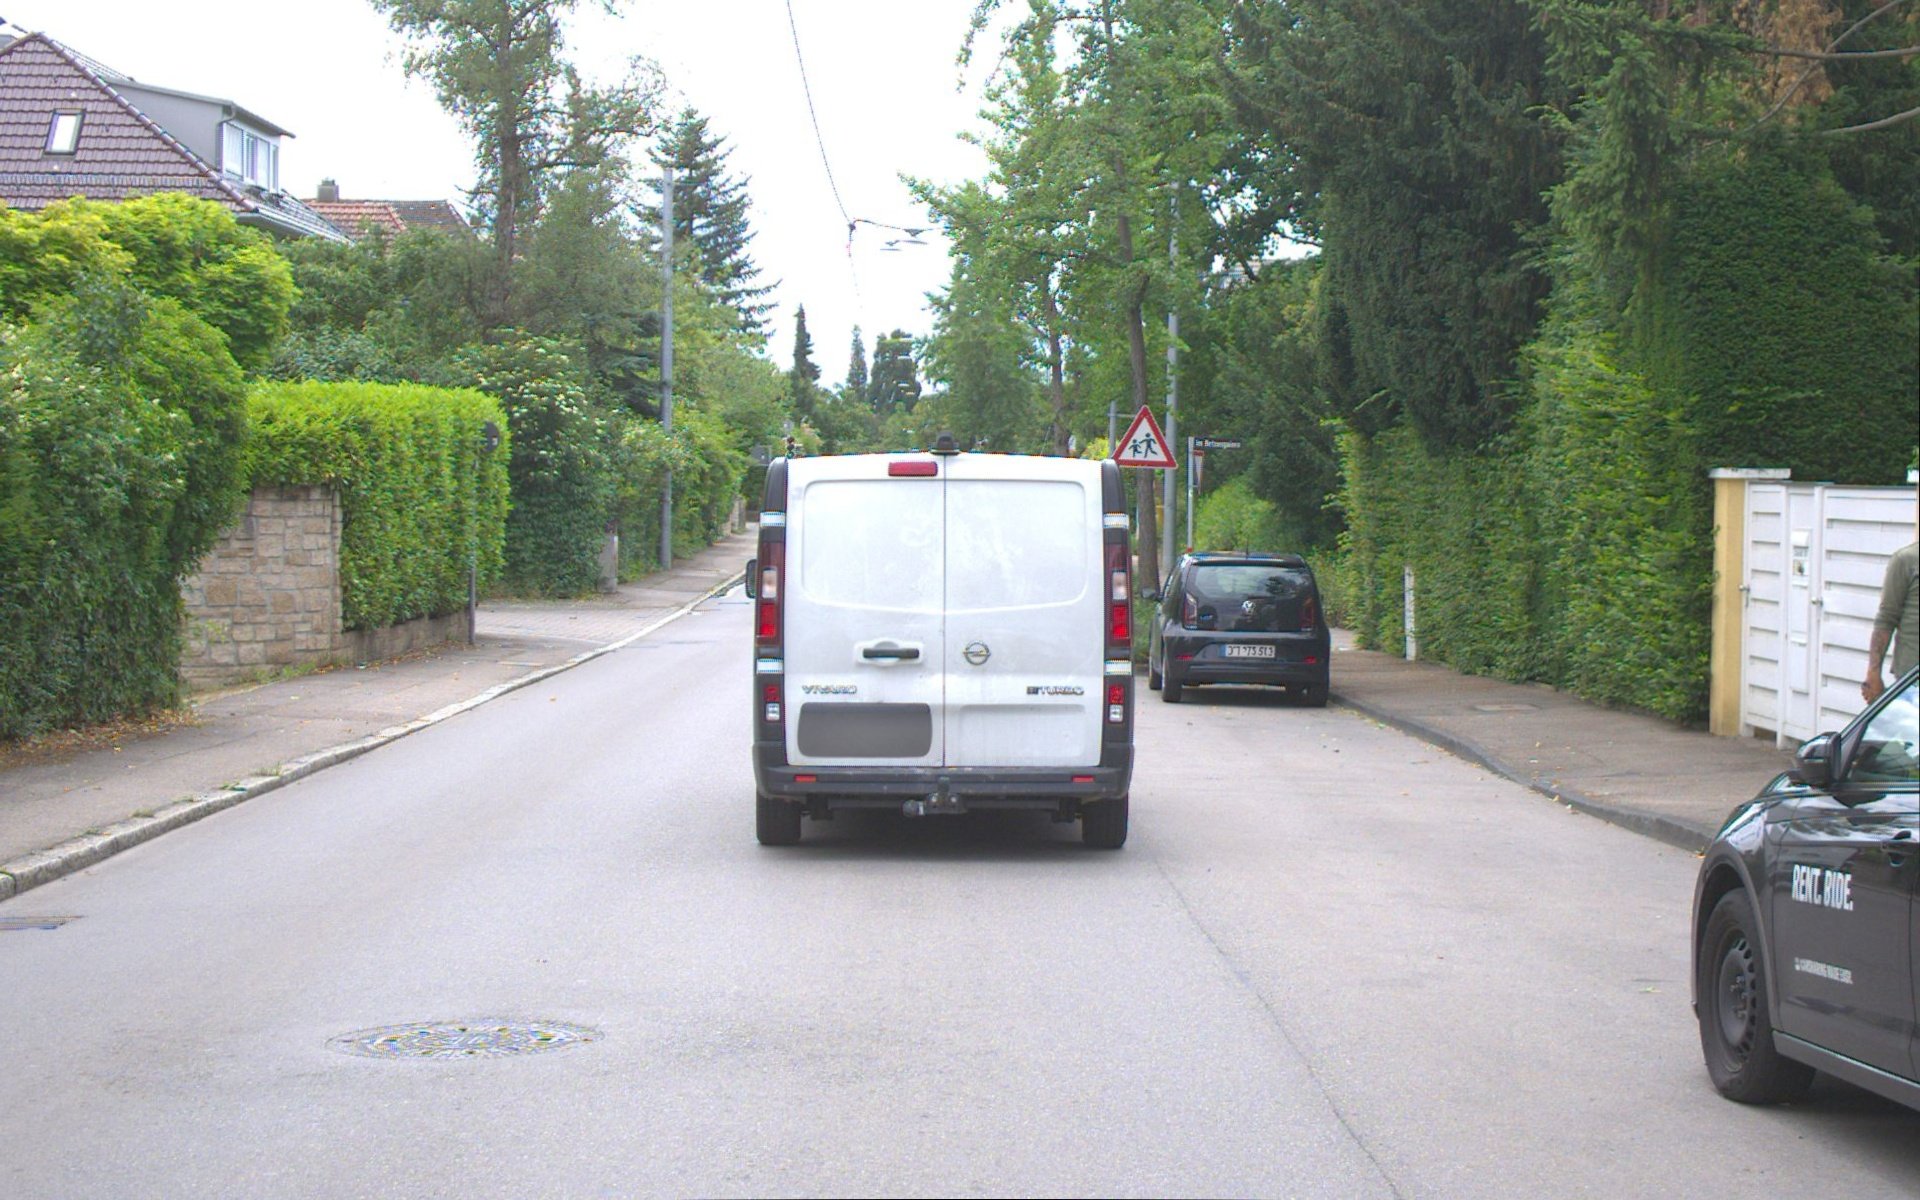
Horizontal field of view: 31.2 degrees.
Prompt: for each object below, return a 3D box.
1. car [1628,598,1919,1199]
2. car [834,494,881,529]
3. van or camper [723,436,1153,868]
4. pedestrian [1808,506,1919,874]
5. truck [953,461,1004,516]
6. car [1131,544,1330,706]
[{"bbox_3d":[2.977,0.730,8.329,1.678,1.402,4.054,-1,1,-4],"label":"car"},{"bbox_3d":[-4.508,-3.933,152.153,1.805,1.426,4.301,-2,2,2],"label":"car"},{"bbox_3d":[-0.158,0.200,18.388,1.939,1.947,4.766,2,1,-1],"label":"van or camper"},{"bbox_3d":[4.540,0.403,16.339,0.669,1.692,0.918,-1,1,-10],"label":"pedestrian"},{"bbox_3d":[0.850,-5.372,164.853,2.187,2.463,7.431,2,2,-1],"label":"truck"},{"bbox_3d":[2.669,0.211,34.617,1.623,1.468,3.740,1,1,-1],"label":"car"}]
